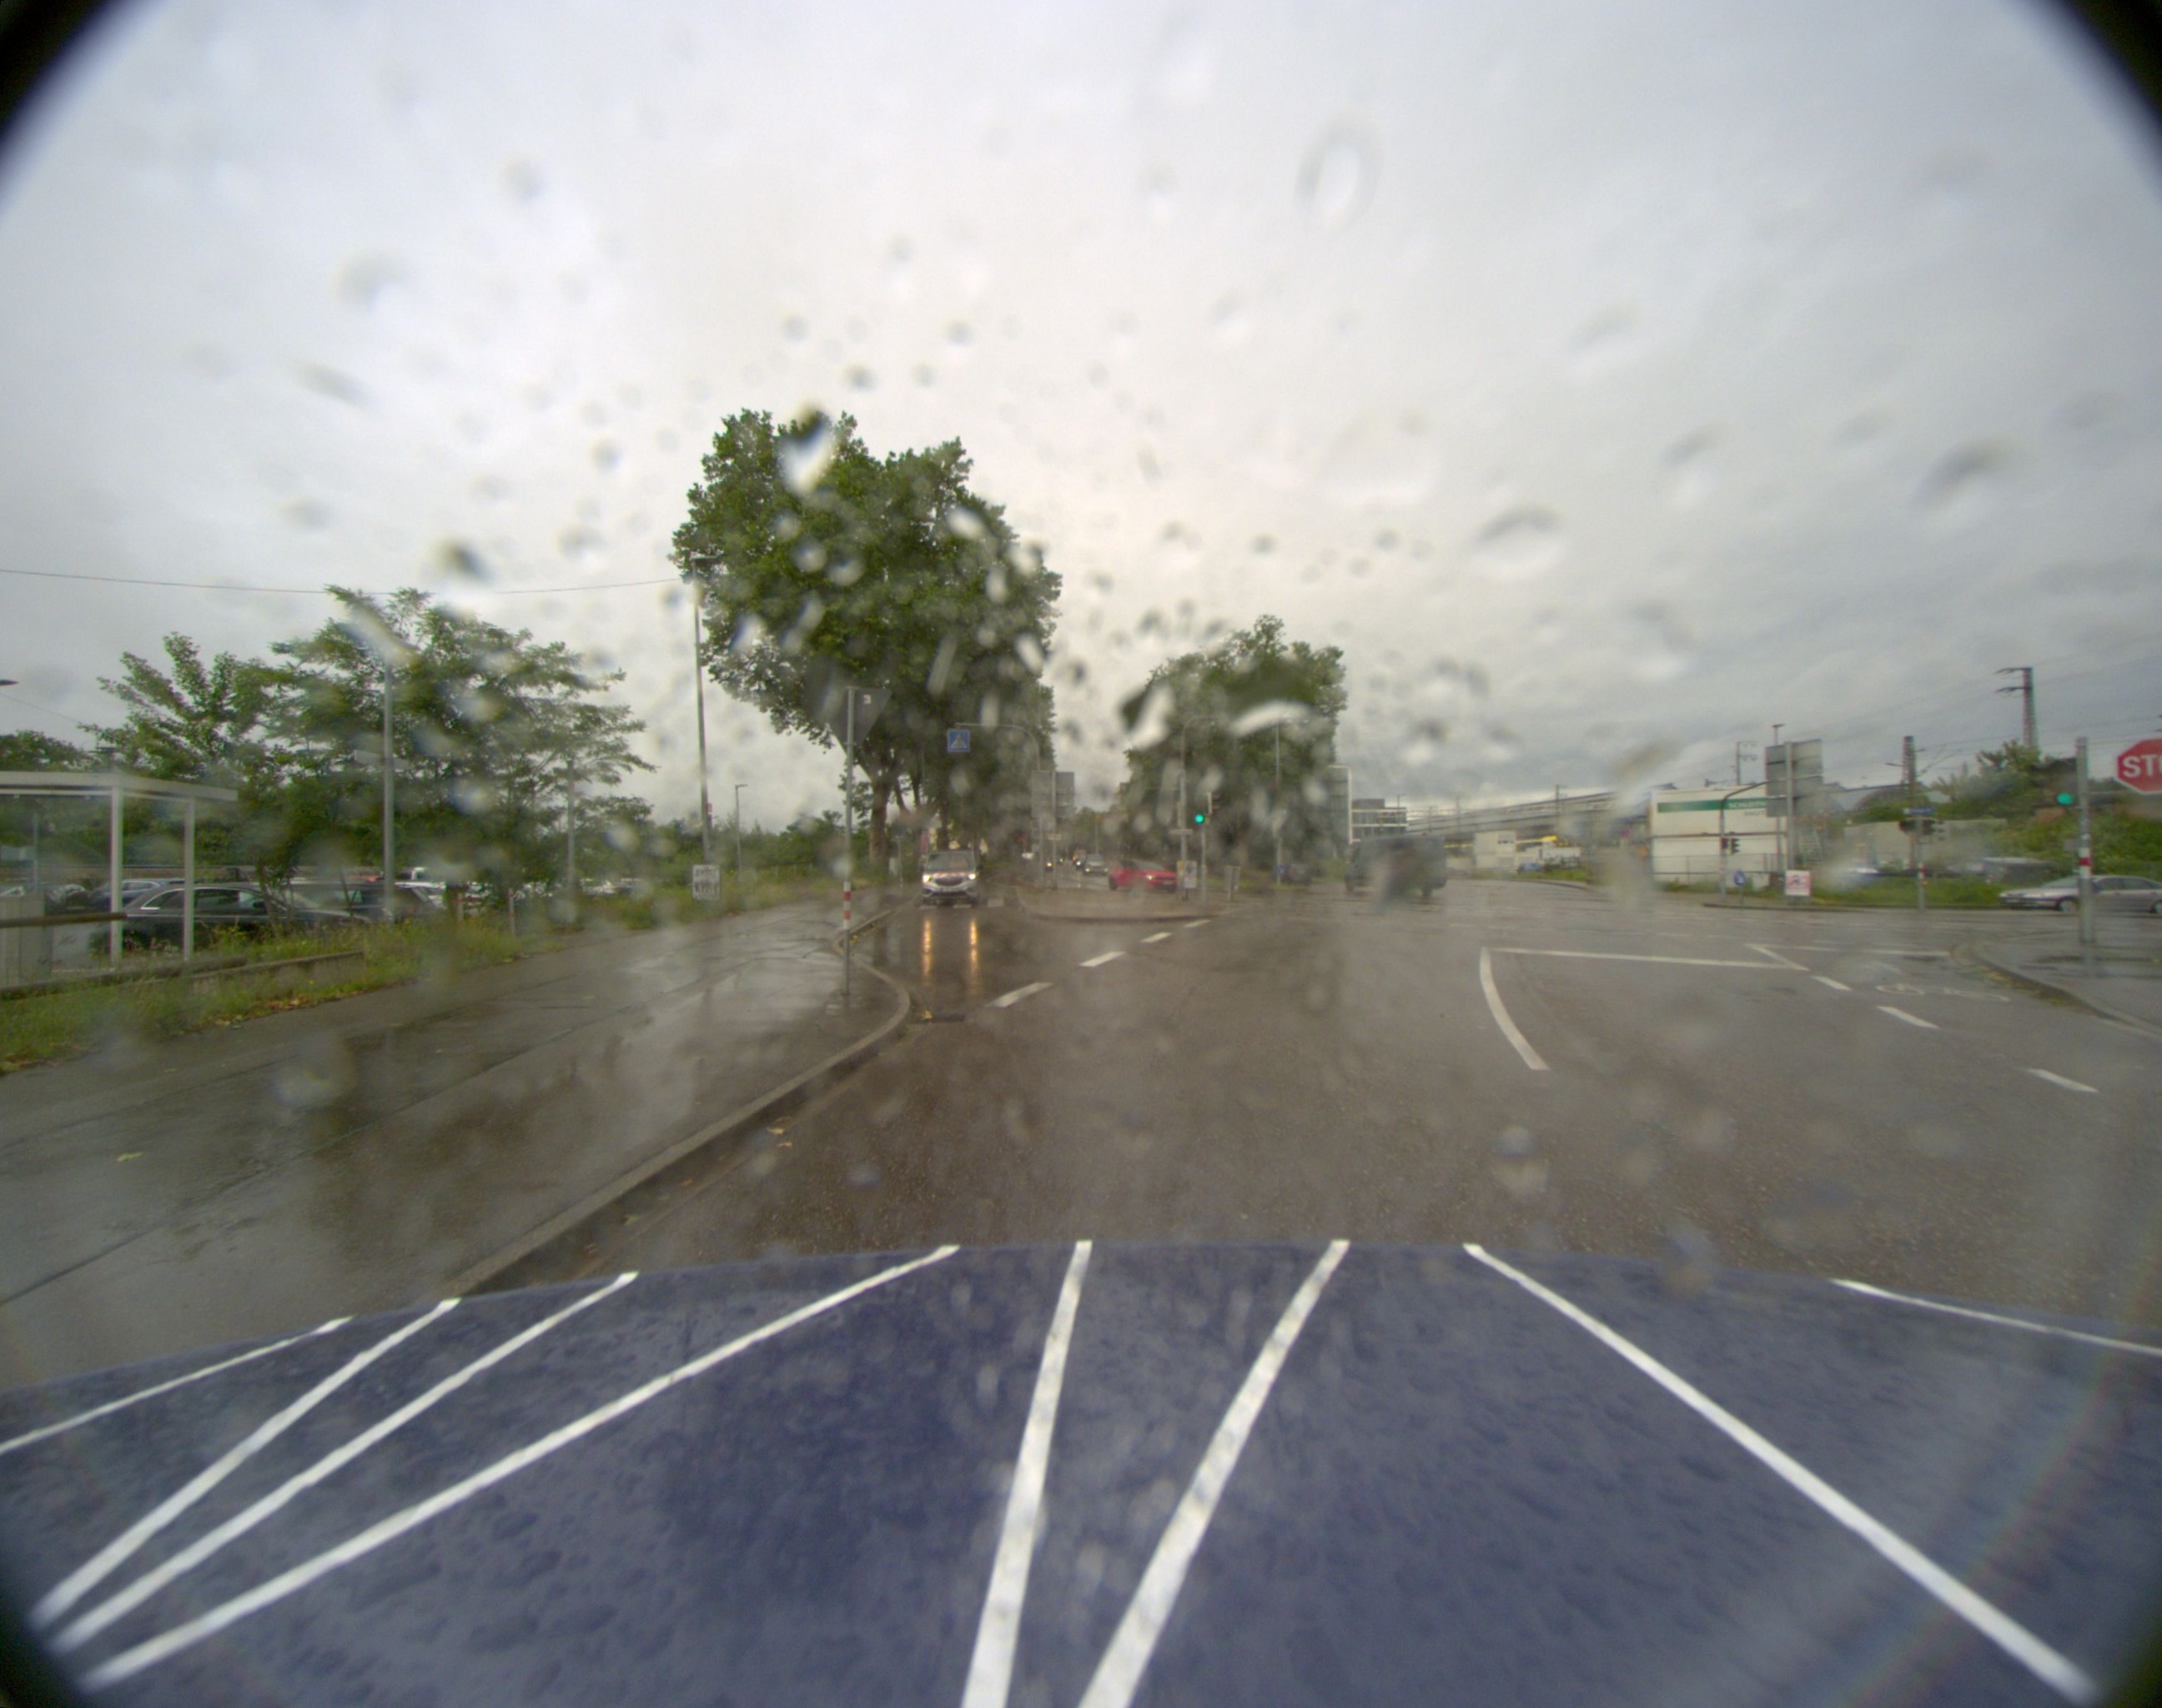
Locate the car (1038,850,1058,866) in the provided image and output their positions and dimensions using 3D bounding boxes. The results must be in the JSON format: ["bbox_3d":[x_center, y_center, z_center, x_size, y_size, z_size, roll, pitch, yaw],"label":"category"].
[{"bbox_3d":[-3.007,0.354,69.988,1.743,1.437,4.000,0,-1,-1],"label":"car"}]

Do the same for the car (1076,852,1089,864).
[{"bbox_3d":[0.177,0.579,105.077,1.853,1.593,4.500,1,-1,-1],"label":"car"}]

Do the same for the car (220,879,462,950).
[{"bbox_3d":[-18.391,1.442,19.185,4.006,1.514,1.872,0,0,-28],"label":"car"}]

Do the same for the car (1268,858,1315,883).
[{"bbox_3d":[12.889,1.063,46.755,1.649,1.443,3.531,1,-2,-5],"label":"car"}]

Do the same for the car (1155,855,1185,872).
[{"bbox_3d":[8.939,0.965,76.555,2.000,1.632,3.997,0,0,-8],"label":"car"}]

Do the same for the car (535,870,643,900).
[{"bbox_3d":[-25.738,1.604,39.942,4.400,1.421,1.873,0,0,-17],"label":"car"}]

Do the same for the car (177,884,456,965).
[{"bbox_3d":[-16.727,1.480,16.956,4.006,1.494,1.872,0,0,-28],"label":"car"}]

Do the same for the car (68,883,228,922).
[{"bbox_3d":[-36.184,1.863,29.532,3.997,1.429,1.818,0,0,1],"label":"car"}]

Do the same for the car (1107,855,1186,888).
[{"bbox_3d":[2.844,0.740,33.846,1.747,1.373,3.991,-1,0,-26],"label":"car"}]

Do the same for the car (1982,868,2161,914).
[{"bbox_3d":[35.467,1.285,26.926,4.423,1.477,1.734,1,1,12],"label":"car"}]

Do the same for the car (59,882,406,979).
[{"bbox_3d":[-15.601,1.334,14.314,4.006,1.481,1.700,0,0,-28],"label":"car"}]

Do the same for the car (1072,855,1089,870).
[{"bbox_3d":[-0.074,0.826,74.960,1.644,1.346,3.774,0,0,-1],"label":"car"}]

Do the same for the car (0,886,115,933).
[{"bbox_3d":[-36.213,1.858,25.941,3.997,1.465,1.961,0,0,1],"label":"car"}]

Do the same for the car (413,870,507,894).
[{"bbox_3d":[-36.455,1.637,44.669,3.997,1.367,1.818,0,0,1],"label":"car"}]

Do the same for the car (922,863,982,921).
[{"bbox_3d":[-4.288,1.206,25.707,1.839,1.714,4.169,0,0,-8],"label":"car"}]

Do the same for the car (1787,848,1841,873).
[{"bbox_3d":[63.081,0.537,65.486,1.995,2.002,4.006,-1,1,22],"label":"car"}]

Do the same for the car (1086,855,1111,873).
[{"bbox_3d":[1.324,0.770,59.587,1.744,1.373,3.999,1,-1,-2],"label":"car"}]

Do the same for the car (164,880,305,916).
[{"bbox_3d":[-36.025,1.839,32.419,3.997,1.429,1.818,0,0,1],"label":"car"}]

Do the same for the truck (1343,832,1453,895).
[{"bbox_3d":[14.232,0.410,34.707,2.090,2.604,6.977,0,0,0],"label":"truck"}]

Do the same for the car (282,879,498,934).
[{"bbox_3d":[-21.285,1.566,23.705,4.653,1.475,1.872,0,0,-28],"label":"car"}]

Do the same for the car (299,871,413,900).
[{"bbox_3d":[-36.319,1.555,38.153,3.997,1.367,1.818,0,0,1],"label":"car"}]
